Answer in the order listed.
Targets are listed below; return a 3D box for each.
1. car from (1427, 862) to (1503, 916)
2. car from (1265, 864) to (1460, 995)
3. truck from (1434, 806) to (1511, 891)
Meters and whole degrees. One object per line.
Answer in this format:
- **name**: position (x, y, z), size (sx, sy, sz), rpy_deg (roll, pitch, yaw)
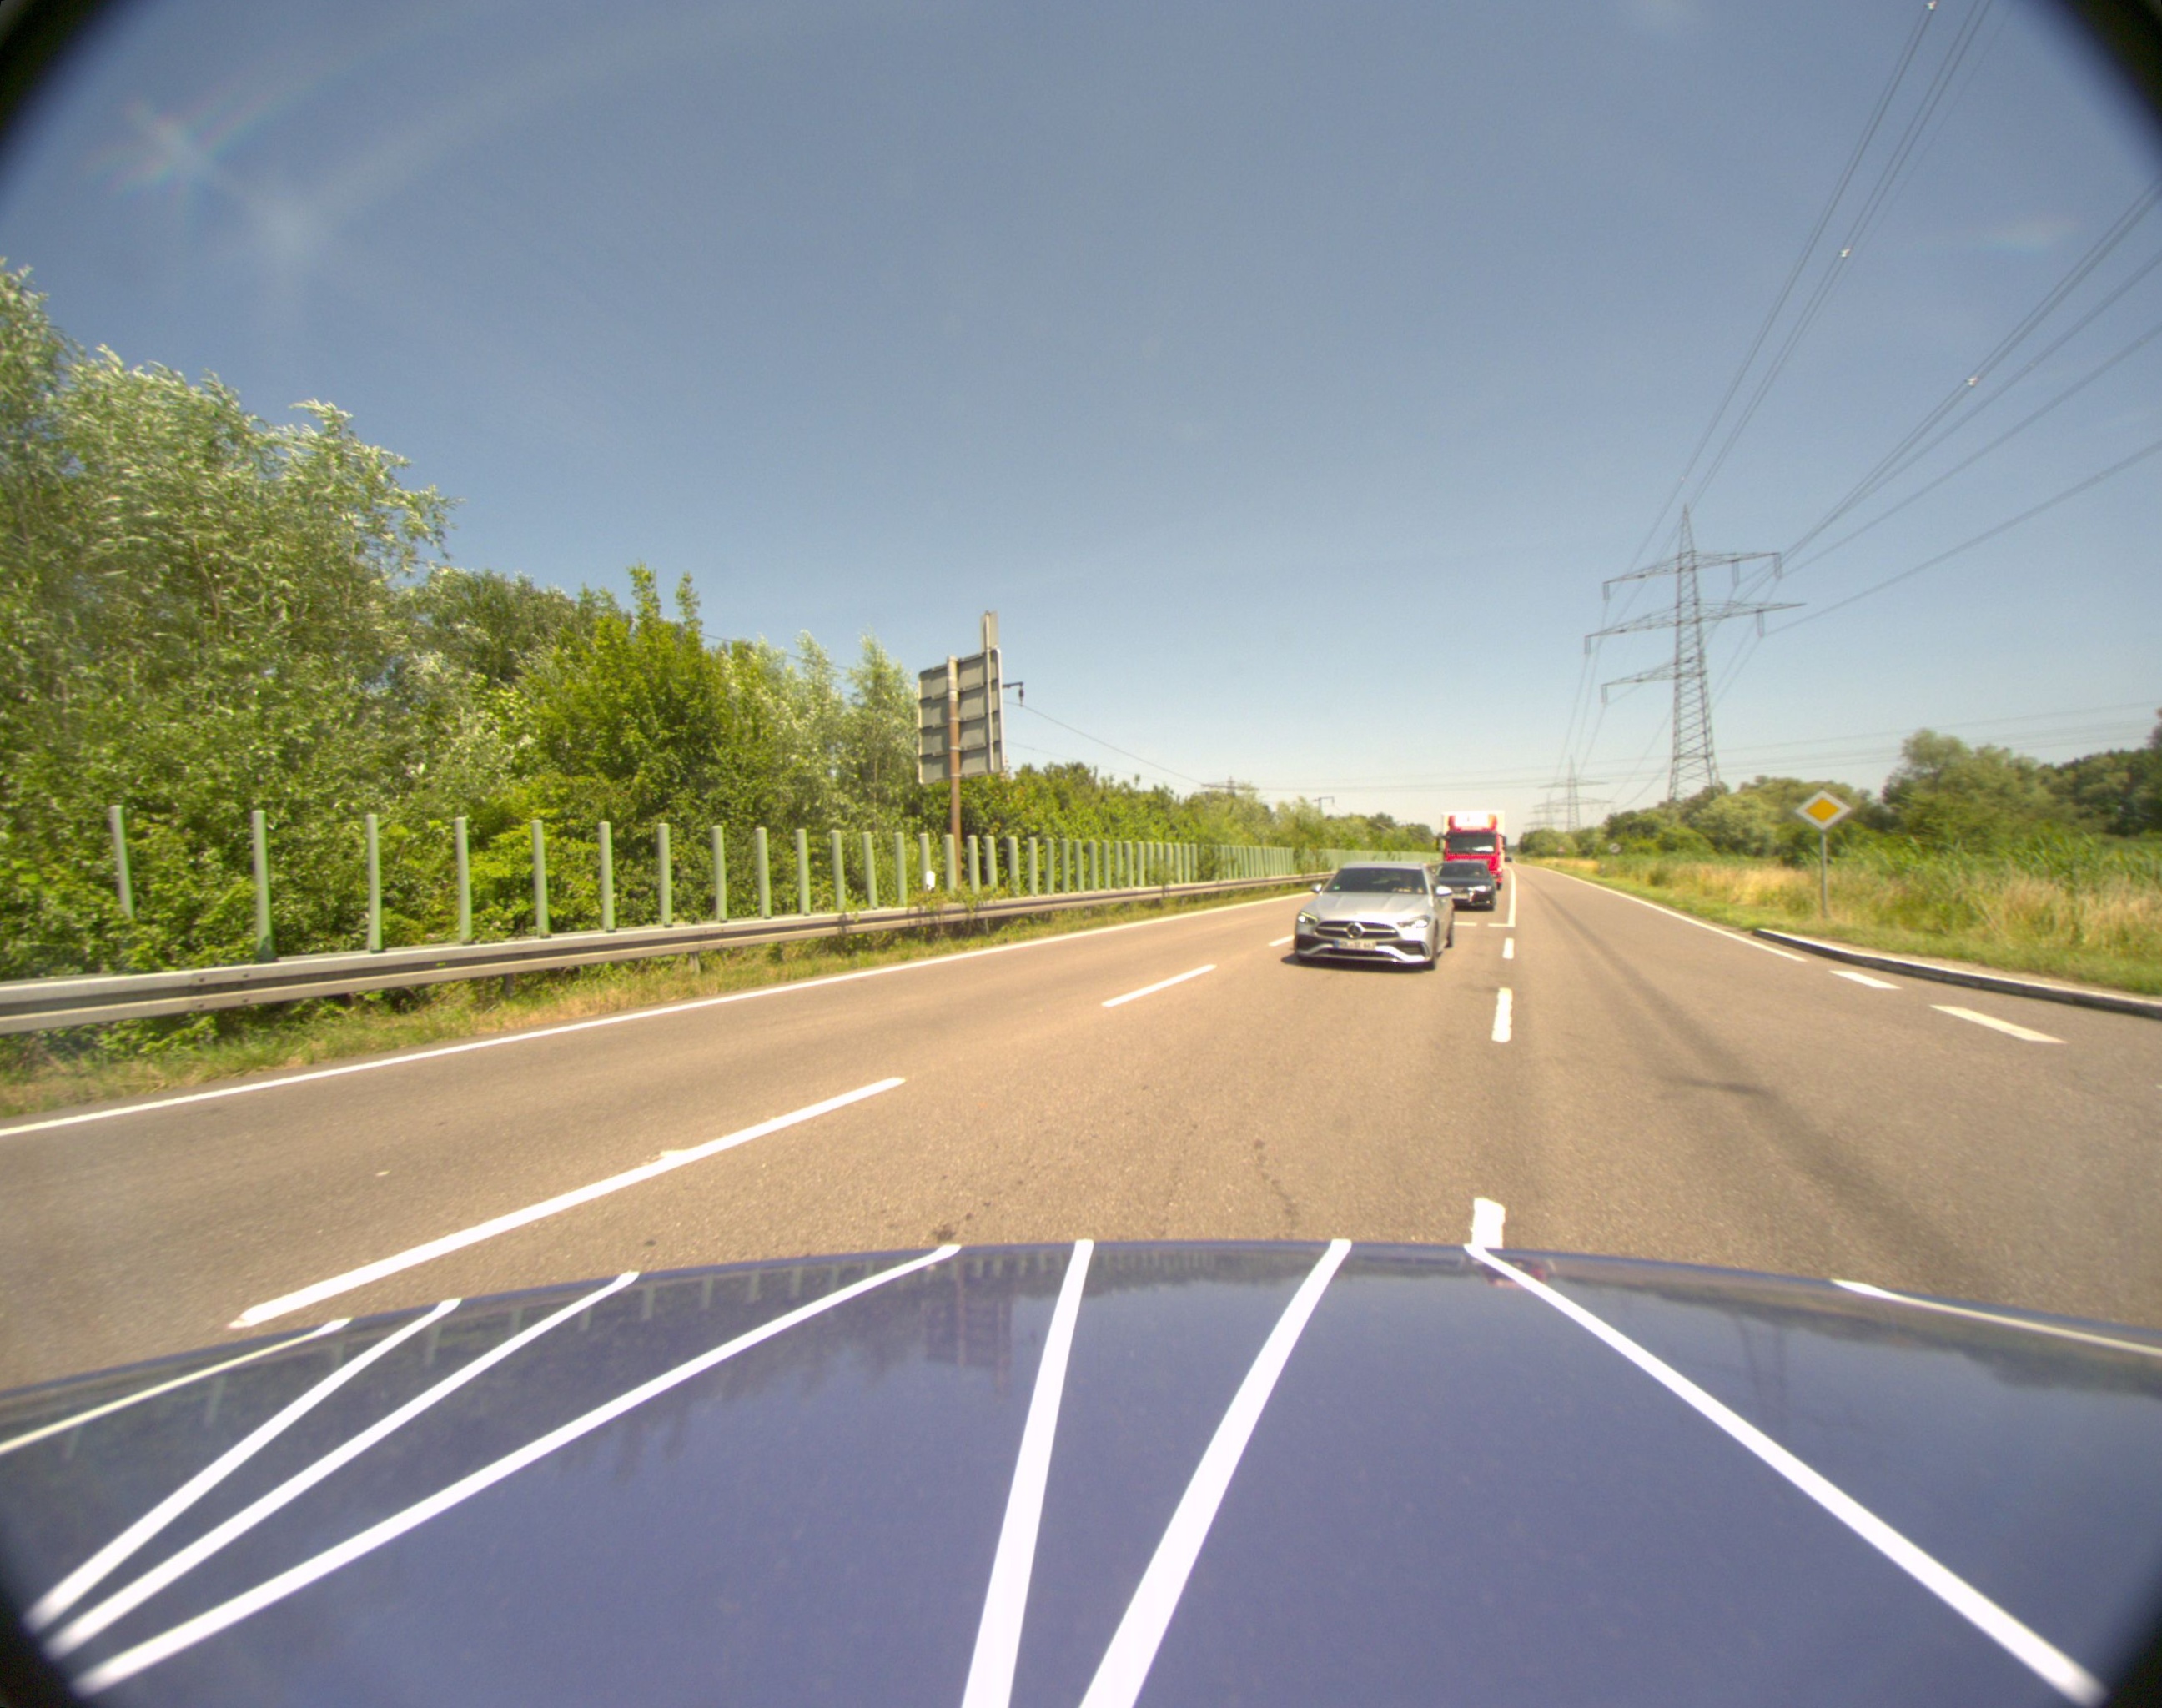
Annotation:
- **car**: position (11.434, 0.951, 22.490), size (1.694, 1.385, 4.476), rpy_deg (0, 0, 31)
- **car**: position (4.387, 0.918, 11.345), size (1.994, 1.437, 4.476), rpy_deg (0, 1, 30)
- **truck**: position (18.858, -0.207, 36.351), size (2.902, 3.640, 7.170), rpy_deg (-2, -1, 30)
